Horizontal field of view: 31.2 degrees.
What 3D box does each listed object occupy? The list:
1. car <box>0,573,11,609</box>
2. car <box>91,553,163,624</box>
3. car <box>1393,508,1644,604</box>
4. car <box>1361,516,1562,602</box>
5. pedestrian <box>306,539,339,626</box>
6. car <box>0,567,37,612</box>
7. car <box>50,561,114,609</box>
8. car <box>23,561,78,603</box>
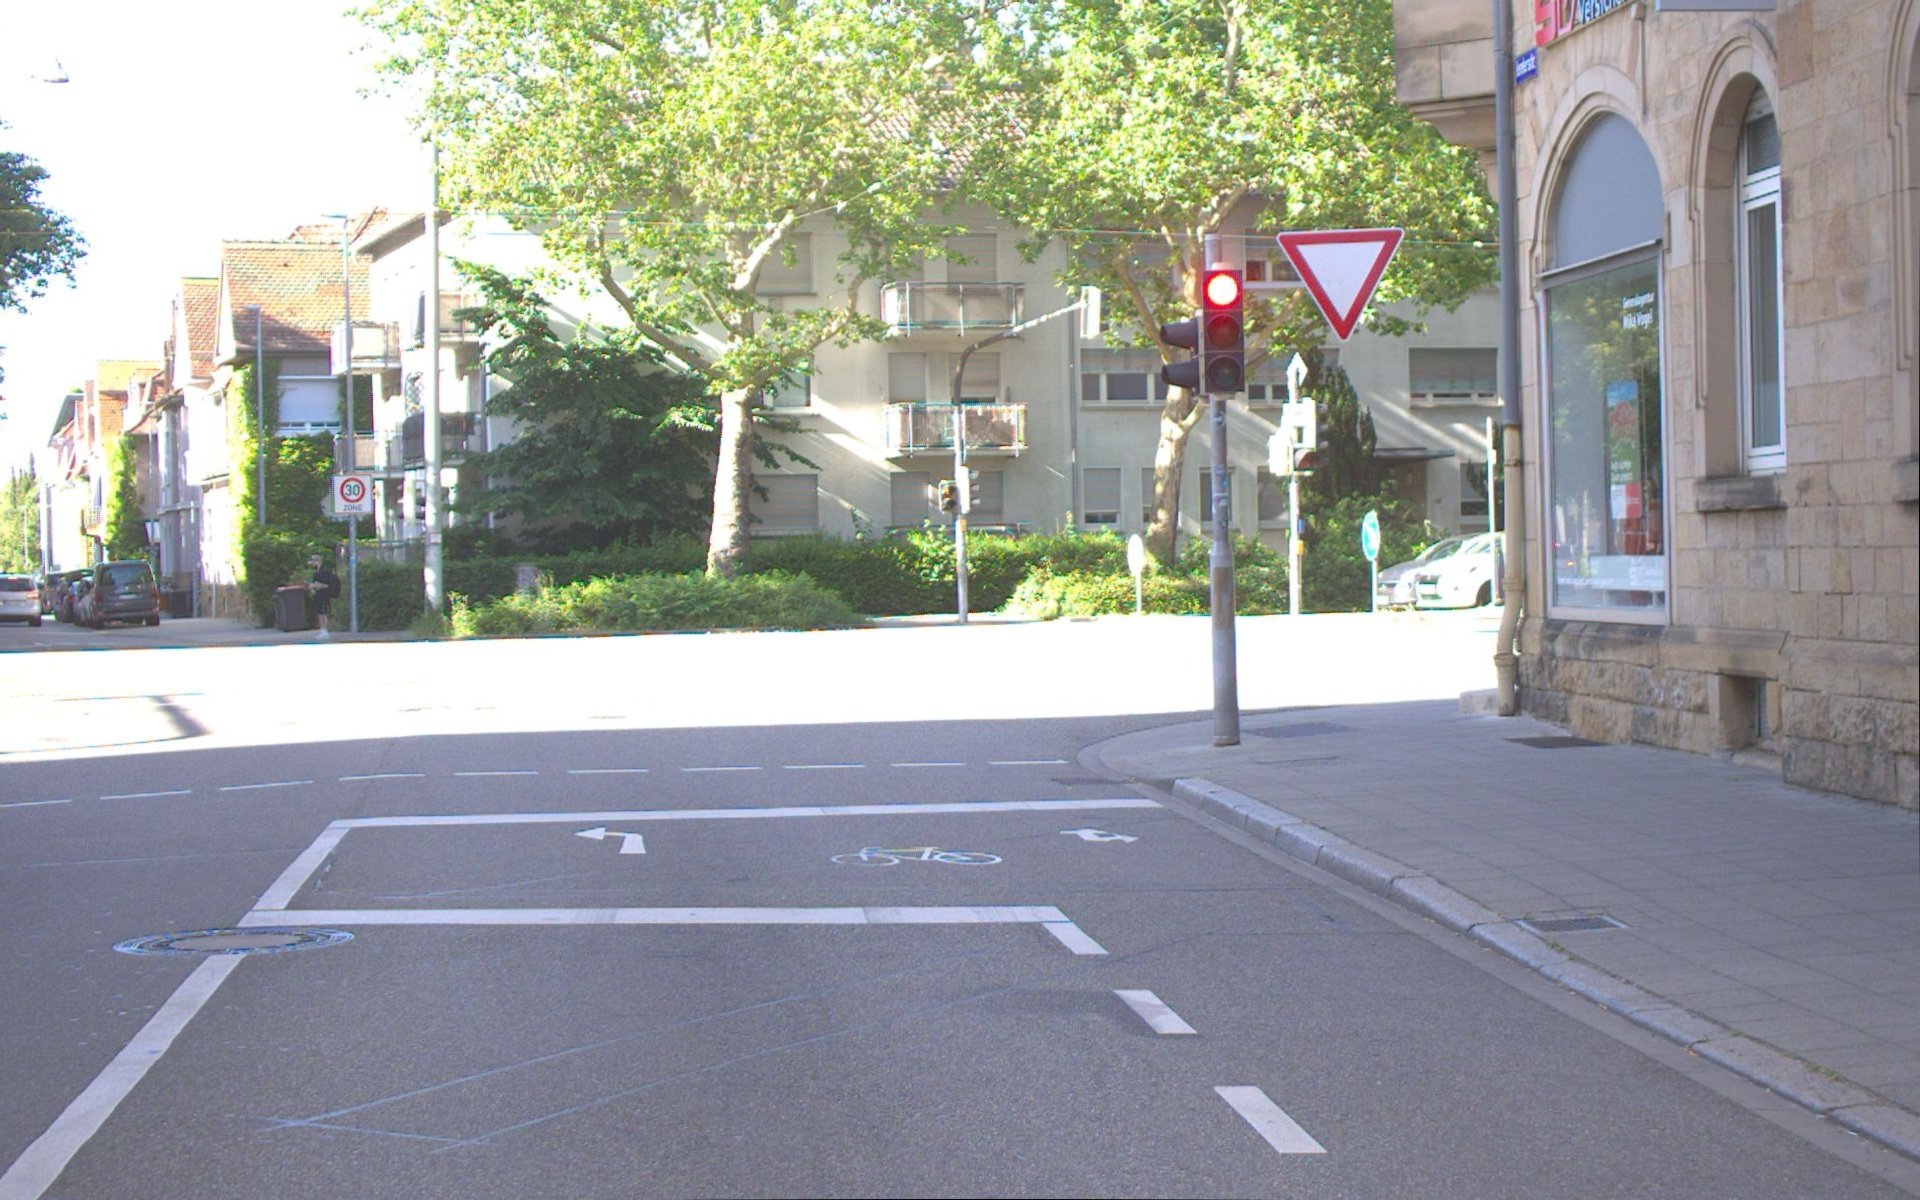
[{"bbox_3d":[-37.664,-0.335,132.809,1.737,1.332,3.835,-2,2,-17],"label":"car"},{"bbox_3d":[-24.917,-0.353,102.863,1.993,2.007,4.001,-2,1,-14],"label":"car"},{"bbox_3d":[9.233,-0.737,56.831,3.786,1.467,1.630,-2,1,-24],"label":"car"},{"bbox_3d":[9.285,-0.763,63.647,3.379,1.482,1.525,-2,2,-26],"label":"car"},{"bbox_3d":[-12.801,-0.354,69.056,0.633,1.744,0.659,0,0,-8],"label":"pedestrian"},{"bbox_3d":[-31.342,-0.356,113.419,1.673,1.477,3.523,0,0,-16],"label":"car"},{"bbox_3d":[-33.977,-0.580,133.013,1.993,1.826,4.001,0,0,-20],"label":"car"},{"bbox_3d":[-40.458,-0.796,152.847,1.993,1.826,4.001,0,0,-20],"label":"car"}]
